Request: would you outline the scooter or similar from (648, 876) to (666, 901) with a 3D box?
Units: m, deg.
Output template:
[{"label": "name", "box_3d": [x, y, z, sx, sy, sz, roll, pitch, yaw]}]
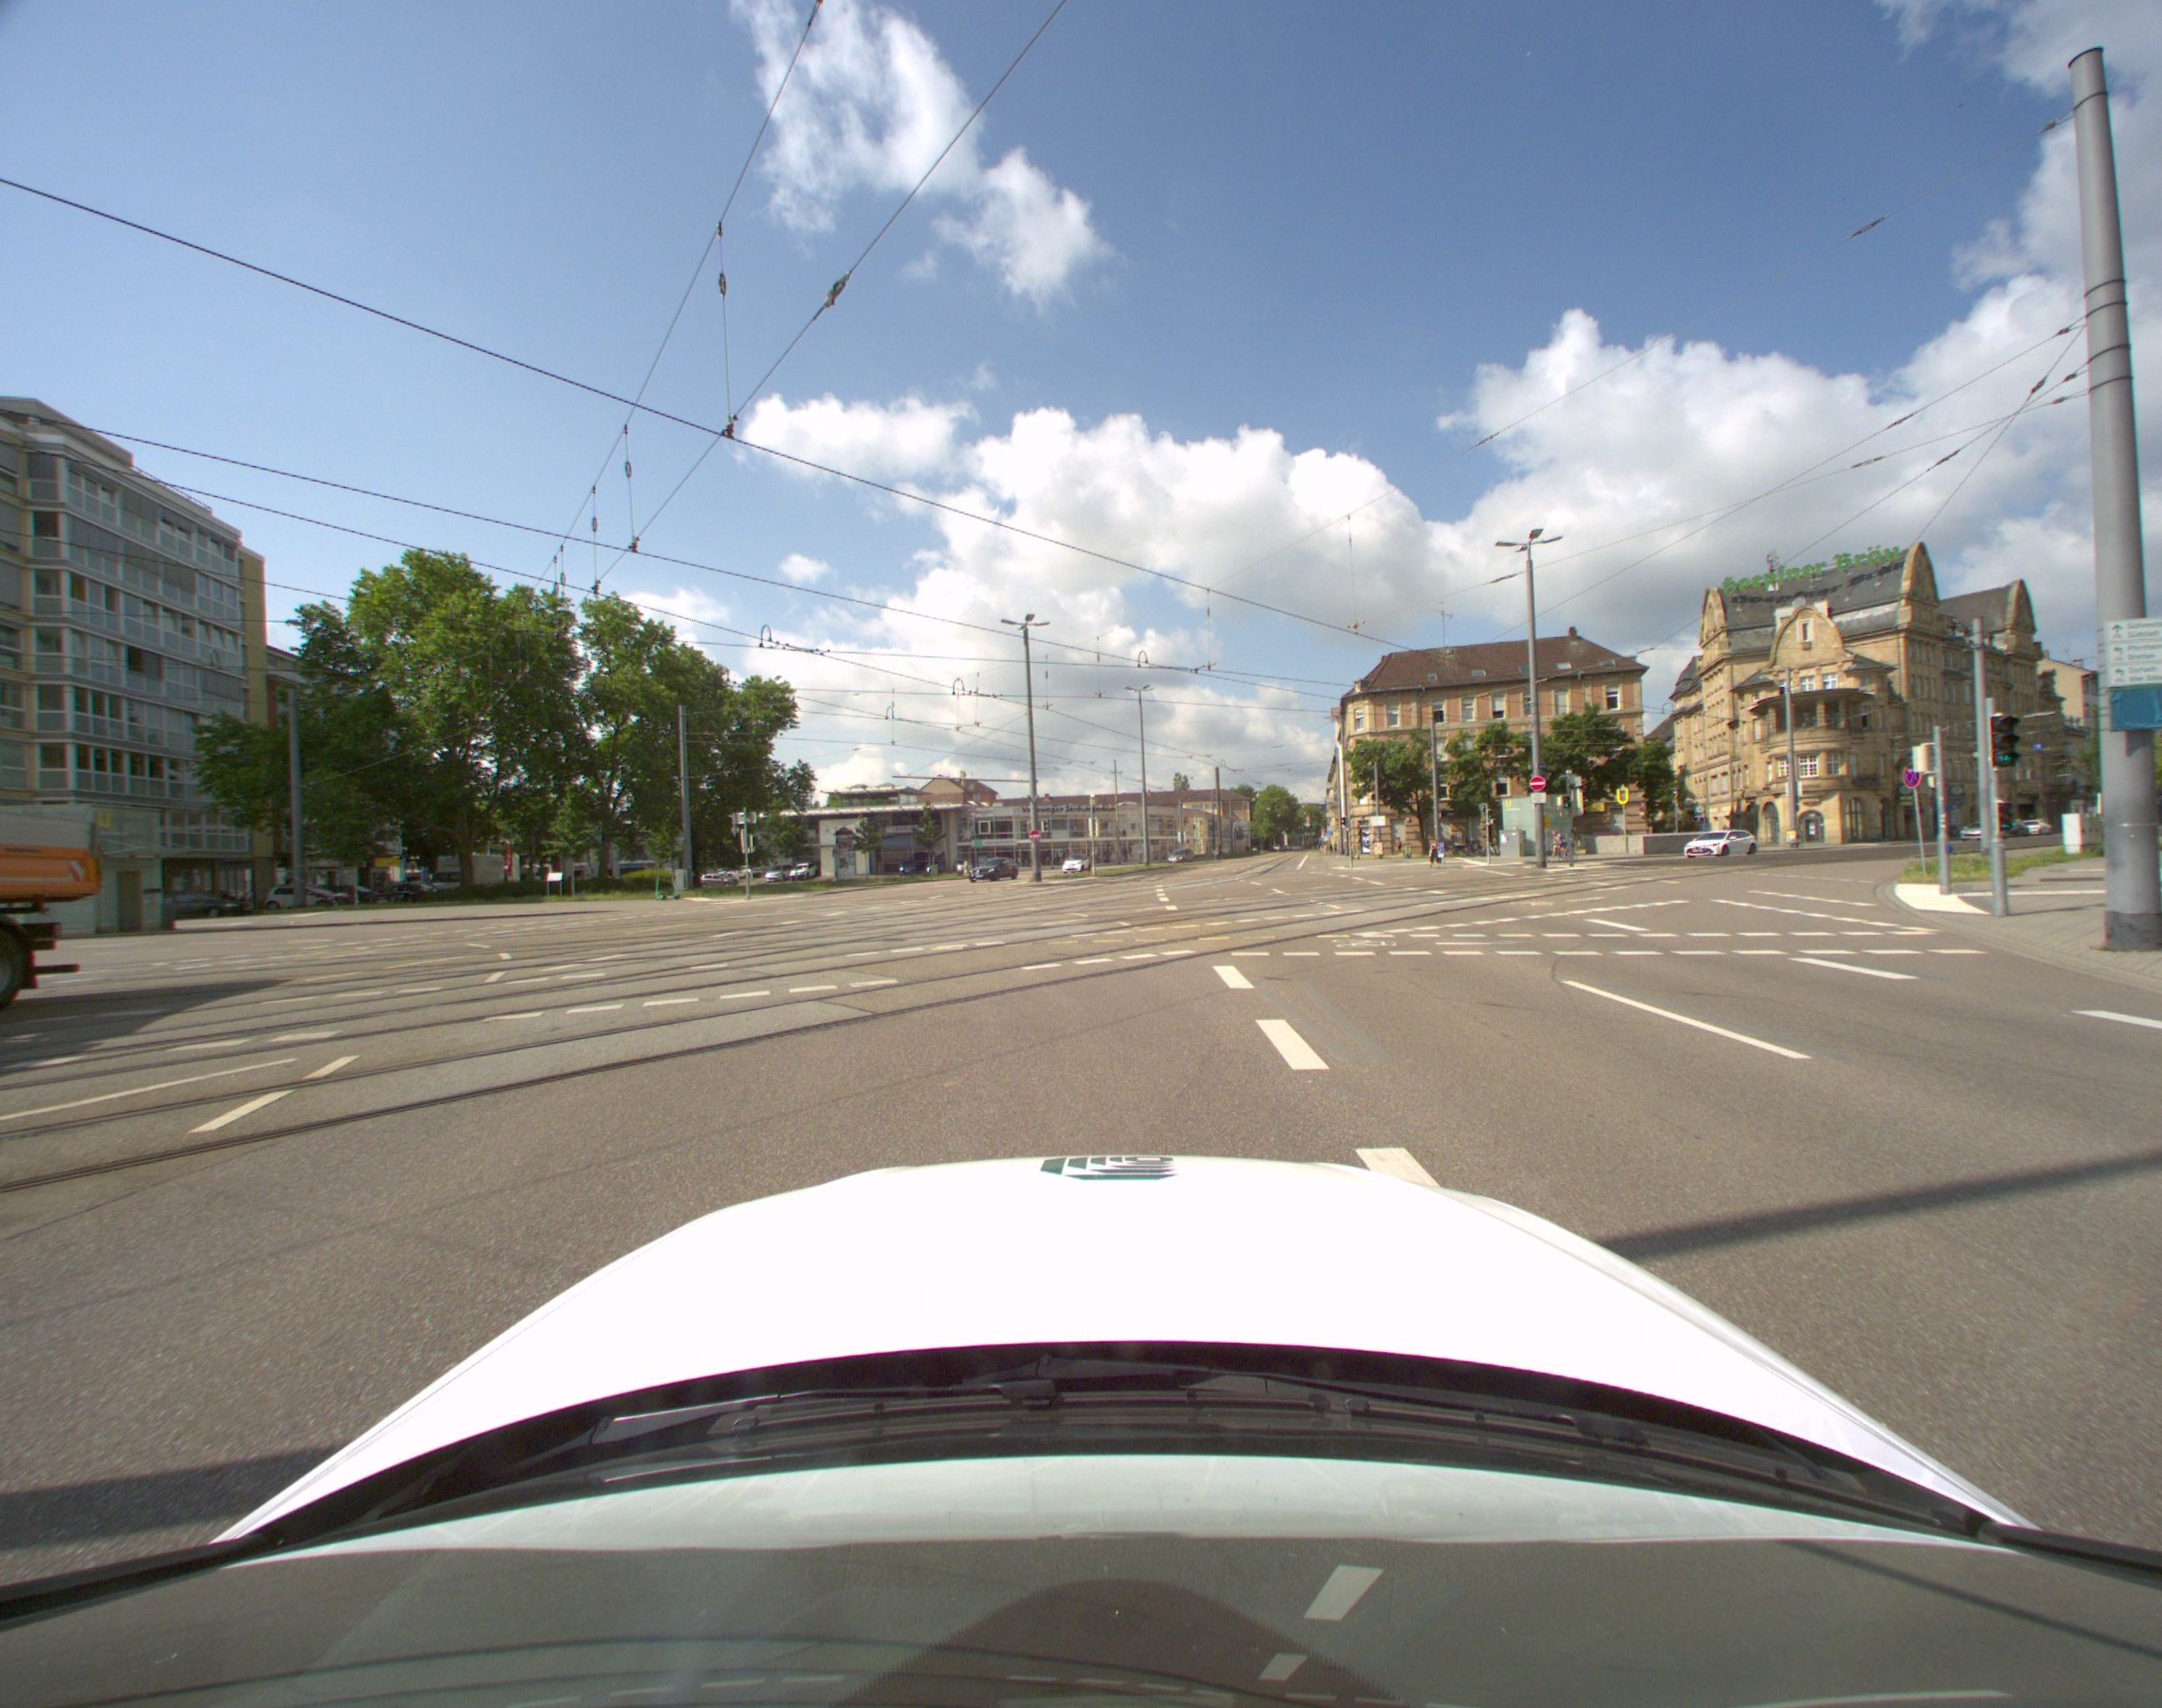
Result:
[{"label": "scooter or similar", "box_3d": [-20.645, 1.694, 39.625, 1.051, 1.196, 0.384, -1, -1, 38]}]

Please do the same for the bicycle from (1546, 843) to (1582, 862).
[{"label": "bicycle", "box_3d": [27.772, -0.069, 46.855, 1.780, 0.956, 0.840, -3, -2, -22]}]

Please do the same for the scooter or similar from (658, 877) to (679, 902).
[{"label": "scooter or similar", "box_3d": [-20.293, 1.739, 40.086, 1.051, 1.196, 0.384, -1, -1, 27]}]

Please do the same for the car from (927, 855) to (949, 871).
[{"label": "car", "box_3d": [-15.258, 0.970, 86.959, 1.990, 1.725, 3.993, 0, -1, -5]}]

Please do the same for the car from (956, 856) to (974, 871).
[{"label": "car", "box_3d": [-12.657, 1.043, 88.788, 1.927, 1.683, 3.988, 0, -1, -8]}]

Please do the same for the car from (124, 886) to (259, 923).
[{"label": "car", "box_3d": [-43.832, 2.448, 40.223, 4.092, 1.514, 1.798, -2, 0, -17]}]

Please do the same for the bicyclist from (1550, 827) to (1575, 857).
[{"label": "bicyclist", "box_3d": [27.721, -0.681, 46.871, 1.148, 1.674, 0.611, -2, -1, -20]}]

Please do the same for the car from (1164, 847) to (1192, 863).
[{"label": "car", "box_3d": [10.410, 0.143, 87.280, 1.976, 1.574, 3.757, -2, 0, 21]}]

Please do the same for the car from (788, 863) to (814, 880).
[{"label": "car", "box_3d": [-30.318, 1.886, 88.285, 1.784, 1.682, 3.990, -2, 0, -7]}]

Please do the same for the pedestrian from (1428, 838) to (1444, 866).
[{"label": "pedestrian", "box_3d": [19.688, -0.093, 45.130, 0.733, 1.516, 0.548, -2, 0, 24]}]

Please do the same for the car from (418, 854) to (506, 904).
[{"label": "car", "box_3d": [-41.310, 1.616, 54.611, 1.997, 3.043, 7.212, -2, 0, -15]}]

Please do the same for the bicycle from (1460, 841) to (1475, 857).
[{"label": "bicycle", "box_3d": [30.886, -0.386, 65.174, 0.752, 1.166, 2.697, -1, -1, 19]}]

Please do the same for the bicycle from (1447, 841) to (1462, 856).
[{"label": "bicycle", "box_3d": [29.988, -0.464, 65.390, 0.752, 1.165, 2.697, -2, 0, 18]}]

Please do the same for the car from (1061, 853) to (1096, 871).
[{"label": "car", "box_3d": [-0.177, 0.676, 67.185, 1.671, 1.470, 3.675, -1, -1, 22]}]

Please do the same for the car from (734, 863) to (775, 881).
[{"label": "car", "box_3d": [-37.843, 2.071, 94.495, 3.967, 2.014, 2.003, -1, -1, 5]}]

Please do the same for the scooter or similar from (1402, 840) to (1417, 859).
[{"label": "scooter or similar", "box_3d": [26.641, -0.396, 66.078, 0.871, 1.482, 2.023, -2, 0, 16]}]

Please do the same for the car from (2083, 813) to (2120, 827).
[{"label": "car", "box_3d": [109.368, -3.635, 87.259, 4.012, 1.384, 1.852, -1, -1, -30]}]

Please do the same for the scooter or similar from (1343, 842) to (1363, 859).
[{"label": "scooter or similar", "box_3d": [22.672, -0.280, 67.951, 1.169, 1.386, 2.812, -1, -1, 10]}]

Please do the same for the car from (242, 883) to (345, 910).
[{"label": "car", "box_3d": [-47.624, 2.548, 49.335, 4.092, 1.514, 1.798, 0, -1, -17]}]

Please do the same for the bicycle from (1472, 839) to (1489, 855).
[{"label": "bicycle", "box_3d": [31.685, -0.574, 64.611, 0.752, 1.165, 2.697, -2, 0, 18]}]

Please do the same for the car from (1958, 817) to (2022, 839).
[{"label": "car", "box_3d": [70.347, -1.965, 63.047, 3.997, 1.596, 1.828, 0, -1, -18]}]

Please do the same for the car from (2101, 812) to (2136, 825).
[{"label": "car", "box_3d": [115.254, -3.945, 90.487, 4.013, 1.384, 1.852, -2, 0, -30]}]

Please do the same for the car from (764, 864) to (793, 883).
[{"label": "car", "box_3d": [-32.608, 2.122, 87.917, 1.992, 2.014, 3.989, 1, -1, -7]}]

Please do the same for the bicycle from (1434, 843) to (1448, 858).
[{"label": "bicycle", "box_3d": [29.096, -0.297, 65.893, 0.752, 1.165, 2.697, -2, 0, 18]}]

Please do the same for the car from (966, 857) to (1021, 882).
[{"label": "car", "box_3d": [-5.507, 0.947, 51.519, 1.849, 1.376, 3.960, -2, 0, 20]}]

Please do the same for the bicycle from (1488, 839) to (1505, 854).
[{"label": "bicycle", "box_3d": [32.953, -0.616, 64.643, 0.752, 1.165, 2.697, -2, 0, 18]}]

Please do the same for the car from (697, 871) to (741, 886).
[{"label": "car", "box_3d": [-36.571, 2.501, 82.238, 3.657, 1.488, 1.673, 0, 0, 1]}]

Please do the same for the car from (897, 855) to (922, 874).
[{"label": "car", "box_3d": [-18.415, 1.119, 87.503, 1.989, 1.838, 3.995, -3, -1, -3]}]

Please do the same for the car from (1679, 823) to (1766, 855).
[{"label": "car", "box_3d": [34.554, -0.769, 43.837, 4.515, 1.596, 1.940, 0, -1, -26]}]

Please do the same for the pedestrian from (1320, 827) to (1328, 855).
[{"label": "pedestrian", "box_3d": [27.471, -1.475, 92.018, 0.660, 3.121, 0.893, -1, -1, 25]}]

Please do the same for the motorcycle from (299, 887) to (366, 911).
[{"label": "motorcycle", "box_3d": [-37.787, 2.261, 41.150, 0.962, 1.030, 2.309, -4, -2, 33]}]

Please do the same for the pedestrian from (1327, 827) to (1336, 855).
[{"label": "pedestrian", "box_3d": [28.196, -1.488, 91.632, 0.718, 3.076, 0.893, -1, -1, 25]}]

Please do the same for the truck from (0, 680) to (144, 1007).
[{"label": "truck", "box_3d": [-13.935, -0.115, 8.189, 2.842, 4.008, 8.003, -2, 0, -26]}]

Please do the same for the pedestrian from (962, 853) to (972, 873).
[{"label": "pedestrian", "box_3d": [-11.661, 0.881, 83.143, 0.804, 2.013, 0.809, -2, 0, 4]}]
